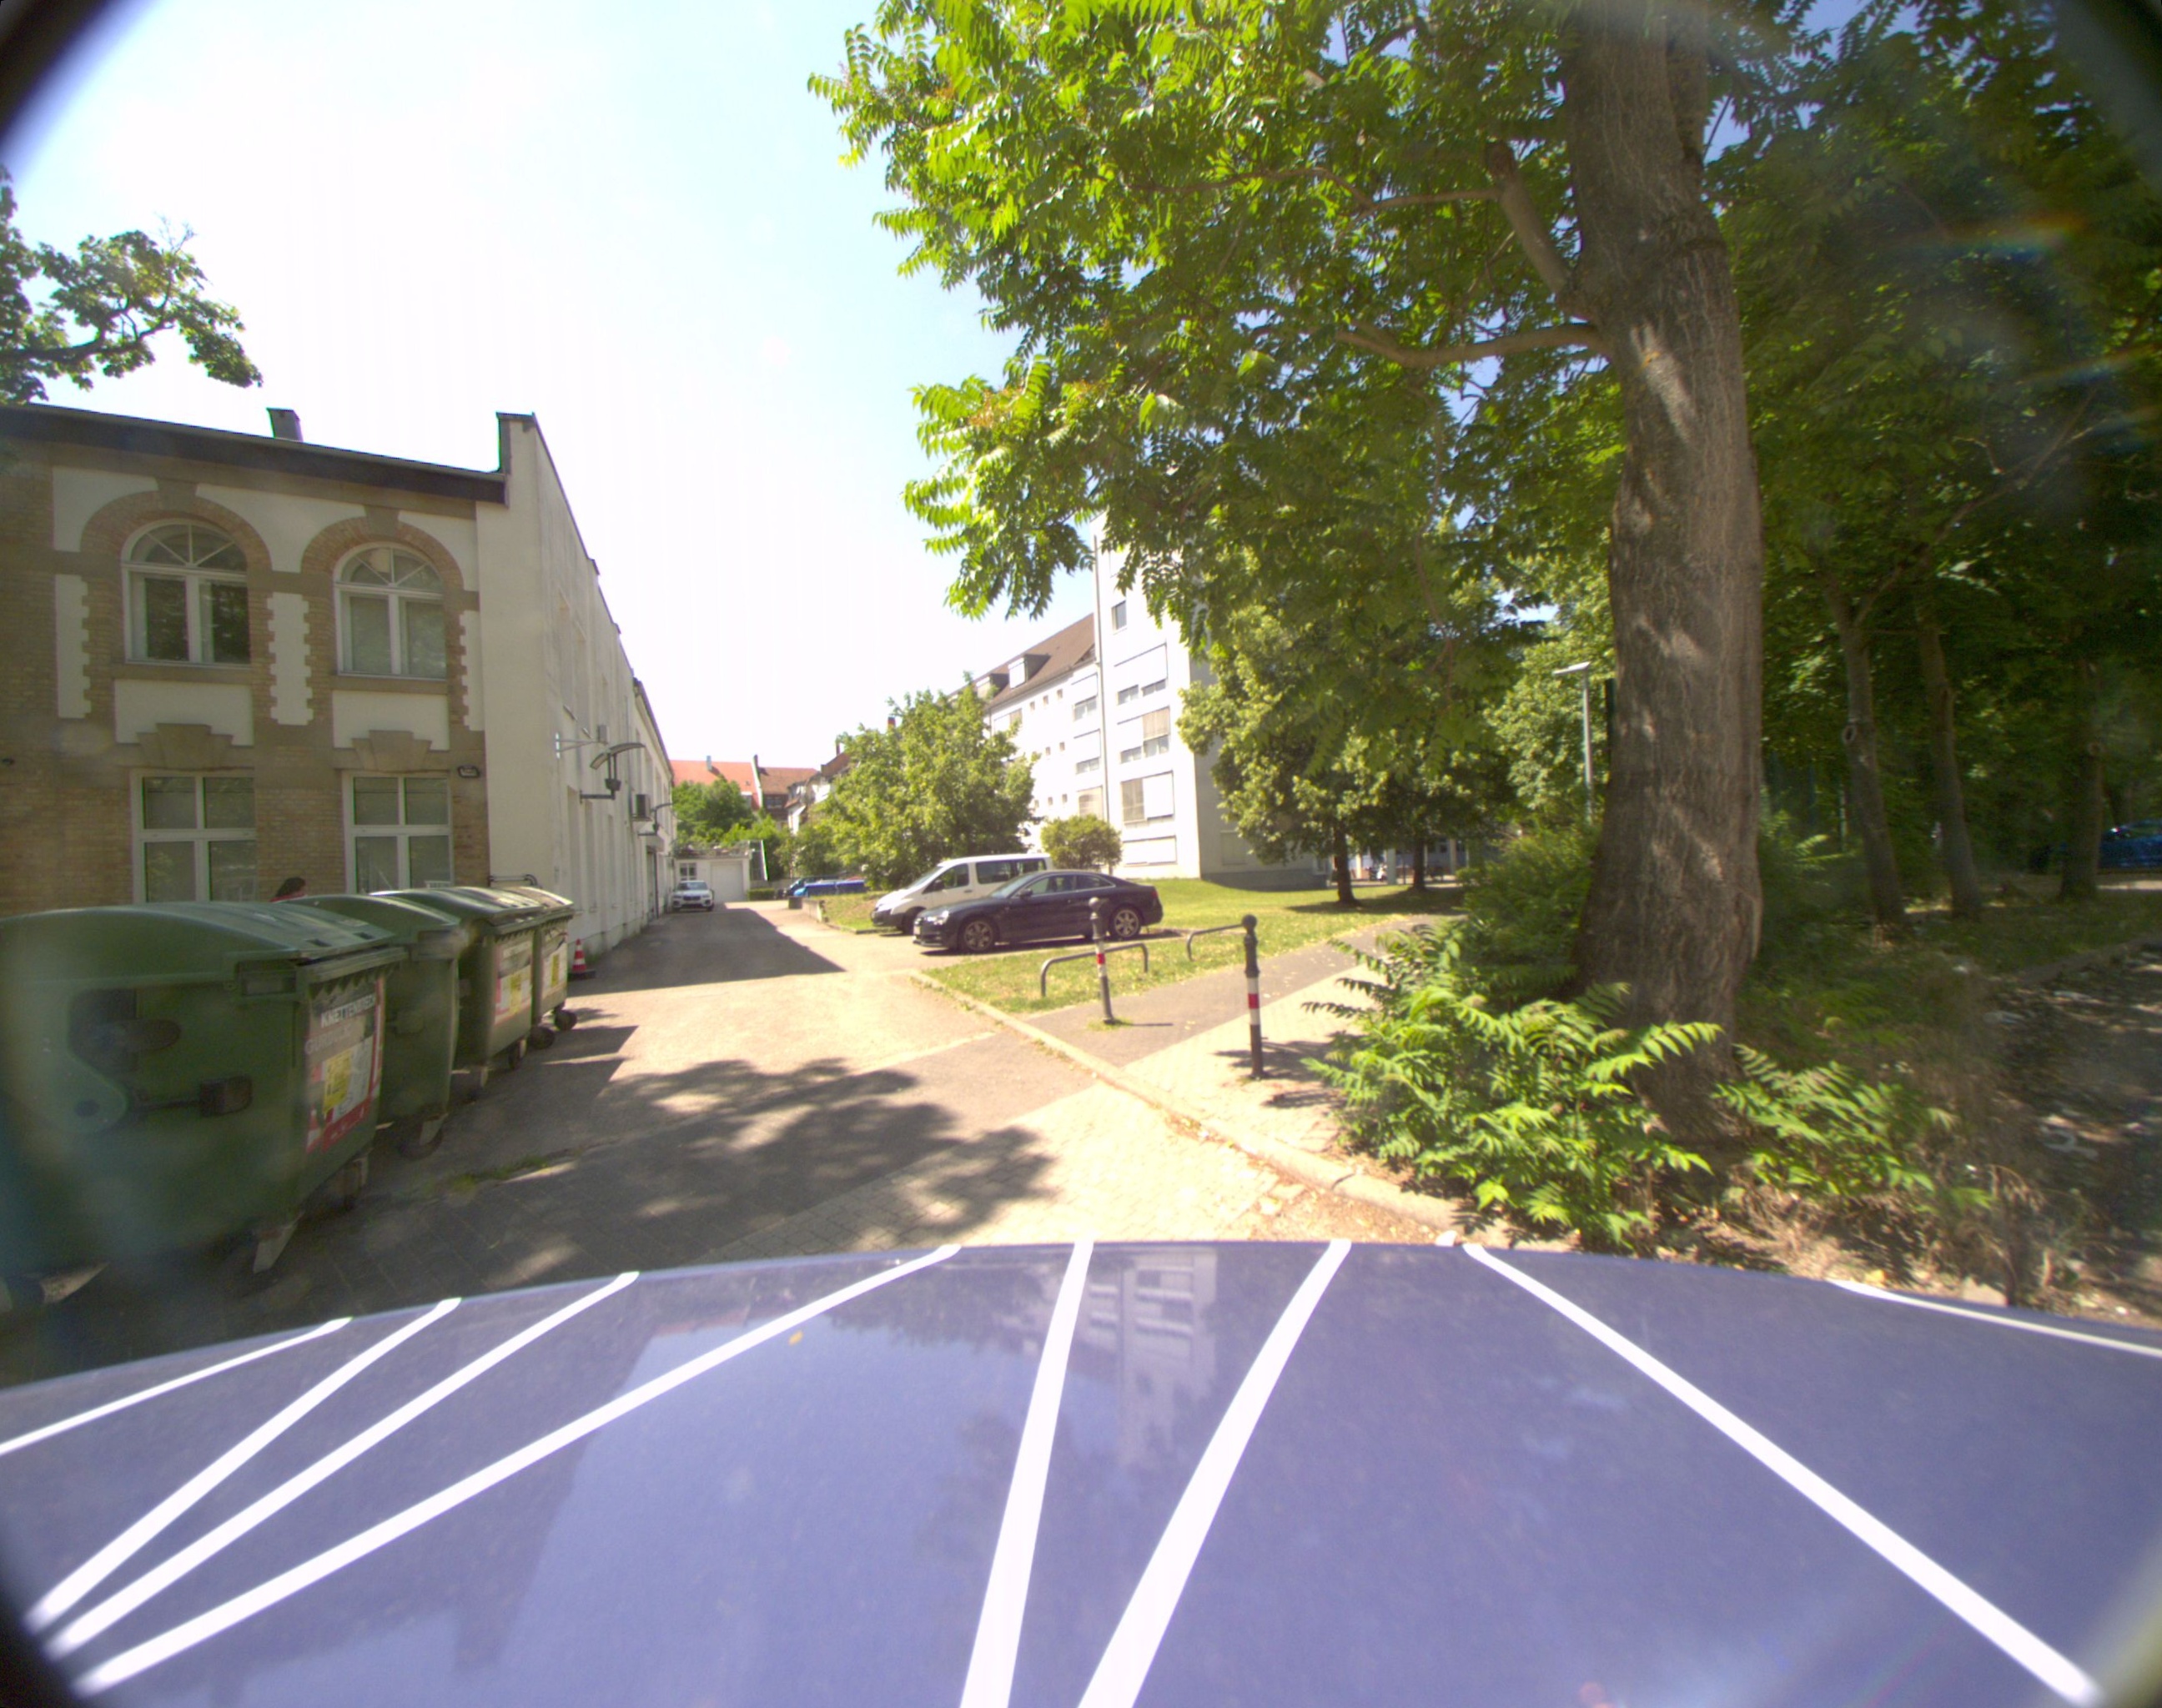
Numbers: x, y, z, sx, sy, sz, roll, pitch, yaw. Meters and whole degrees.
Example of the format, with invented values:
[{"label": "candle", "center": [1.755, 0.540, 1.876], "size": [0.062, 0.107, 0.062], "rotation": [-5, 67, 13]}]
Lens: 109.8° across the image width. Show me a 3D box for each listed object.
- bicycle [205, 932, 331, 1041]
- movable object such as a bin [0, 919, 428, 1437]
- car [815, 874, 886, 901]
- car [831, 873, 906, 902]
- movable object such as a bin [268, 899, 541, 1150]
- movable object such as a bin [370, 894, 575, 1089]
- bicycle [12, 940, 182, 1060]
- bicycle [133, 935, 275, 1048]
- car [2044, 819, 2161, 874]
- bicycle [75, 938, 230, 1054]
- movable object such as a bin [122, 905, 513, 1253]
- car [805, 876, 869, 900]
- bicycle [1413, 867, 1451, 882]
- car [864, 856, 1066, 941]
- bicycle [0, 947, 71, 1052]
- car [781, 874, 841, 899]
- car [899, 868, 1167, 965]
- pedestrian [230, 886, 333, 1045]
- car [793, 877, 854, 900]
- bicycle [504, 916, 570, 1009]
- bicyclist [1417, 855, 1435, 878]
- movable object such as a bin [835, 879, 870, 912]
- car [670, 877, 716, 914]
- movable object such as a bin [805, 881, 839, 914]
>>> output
[{"label": "bicycle", "center": [-10.236, 1.612, 9.638], "size": [0.407, 1.095, 1.823], "rotation": [-2, 0, -25]}, {"label": "movable object such as a bin", "center": [-3.517, 1.056, 2.958], "size": [1.080, 1.449, 1.374], "rotation": [-2, 0, -24]}, {"label": "car", "center": [-15.454, 2.236, 50.913], "size": [4.231, 1.559, 1.610], "rotation": [-2, 0, -31]}, {"label": "car", "center": [-13.449, 2.106, 48.215], "size": [4.231, 1.559, 1.610], "rotation": [-2, 0, -31]}, {"label": "movable object such as a bin", "center": [-4.789, 1.107, 5.551], "size": [1.080, 1.449, 1.374], "rotation": [-2, 0, -24]}, {"label": "movable object such as a bin", "center": [-5.381, 1.138, 6.865], "size": [1.080, 1.449, 1.374], "rotation": [-2, 0, -24]}, {"label": "bicycle", "center": [-11.561, 1.663, 9.002], "size": [0.407, 1.095, 1.823], "rotation": [-2, 0, -25]}, {"label": "bicycle", "center": [-10.755, 1.632, 9.393], "size": [0.407, 1.095, 1.823], "rotation": [-2, 0, -25]}, {"label": "car", "center": [28.590, -0.213, 20.193], "size": [1.585, 1.412, 3.545], "rotation": [-2, 0, -32]}, {"label": "bicycle", "center": [-11.160, 1.647, 9.212], "size": [0.407, 1.095, 1.823], "rotation": [-2, 0, -25]}, {"label": "movable object such as a bin", "center": [-4.067, 1.071, 4.267], "size": [1.080, 1.449, 1.374], "rotation": [-2, 0, -24]}, {"label": "car", "center": [-18.243, 2.536, 56.894], "size": [4.231, 1.559, 1.610], "rotation": [-2, 0, -31]}, {"label": "bicycle", "center": [16.685, 0.971, 36.112], "size": [1.618, 0.637, 0.733], "rotation": [-2, -3, -24]}, {"label": "car", "center": [-3.070, 1.084, 20.147], "size": [4.868, 1.872, 2.064], "rotation": [-2, 0, -23]}, {"label": "bicycle", "center": [-12.462, 1.697, 8.597], "size": [0.407, 1.095, 1.823], "rotation": [-2, 0, -25]}, {"label": "car", "center": [-21.924, 2.604, 61.772], "size": [4.231, 1.812, 2.005], "rotation": [-2, 0, -31]}, {"label": "car", "center": [-0.901, 1.073, 13.994], "size": [4.448, 1.371, 2.021], "rotation": [-2, -2, -23]}, {"label": "pedestrian", "center": [-9.357, 1.261, 8.919], "size": [0.553, 1.738, 0.688], "rotation": [-2, 0, -24]}, {"label": "car", "center": [-20.103, 2.644, 59.390], "size": [4.231, 1.559, 1.610], "rotation": [-2, 0, -31]}, {"label": "bicycle", "center": [-7.733, 1.494, 10.856], "size": [0.407, 1.095, 1.823], "rotation": [-2, 0, -25]}, {"label": "bicyclist", "center": [16.337, 0.596, 35.972], "size": [0.523, 1.038, 0.517], "rotation": [-2, -3, -23]}, {"label": "movable object such as a bin", "center": [-10.184, 1.846, 33.864], "size": [1.274, 1.380, 1.093], "rotation": [-2, 0, -25]}, {"label": "car", "center": [-21.402, 2.222, 42.073], "size": [2.015, 1.792, 4.718], "rotation": [-2, 0, -25]}, {"label": "movable object such as a bin", "center": [-11.350, 1.890, 33.286], "size": [1.274, 1.380, 1.093], "rotation": [-2, 0, -25]}]
